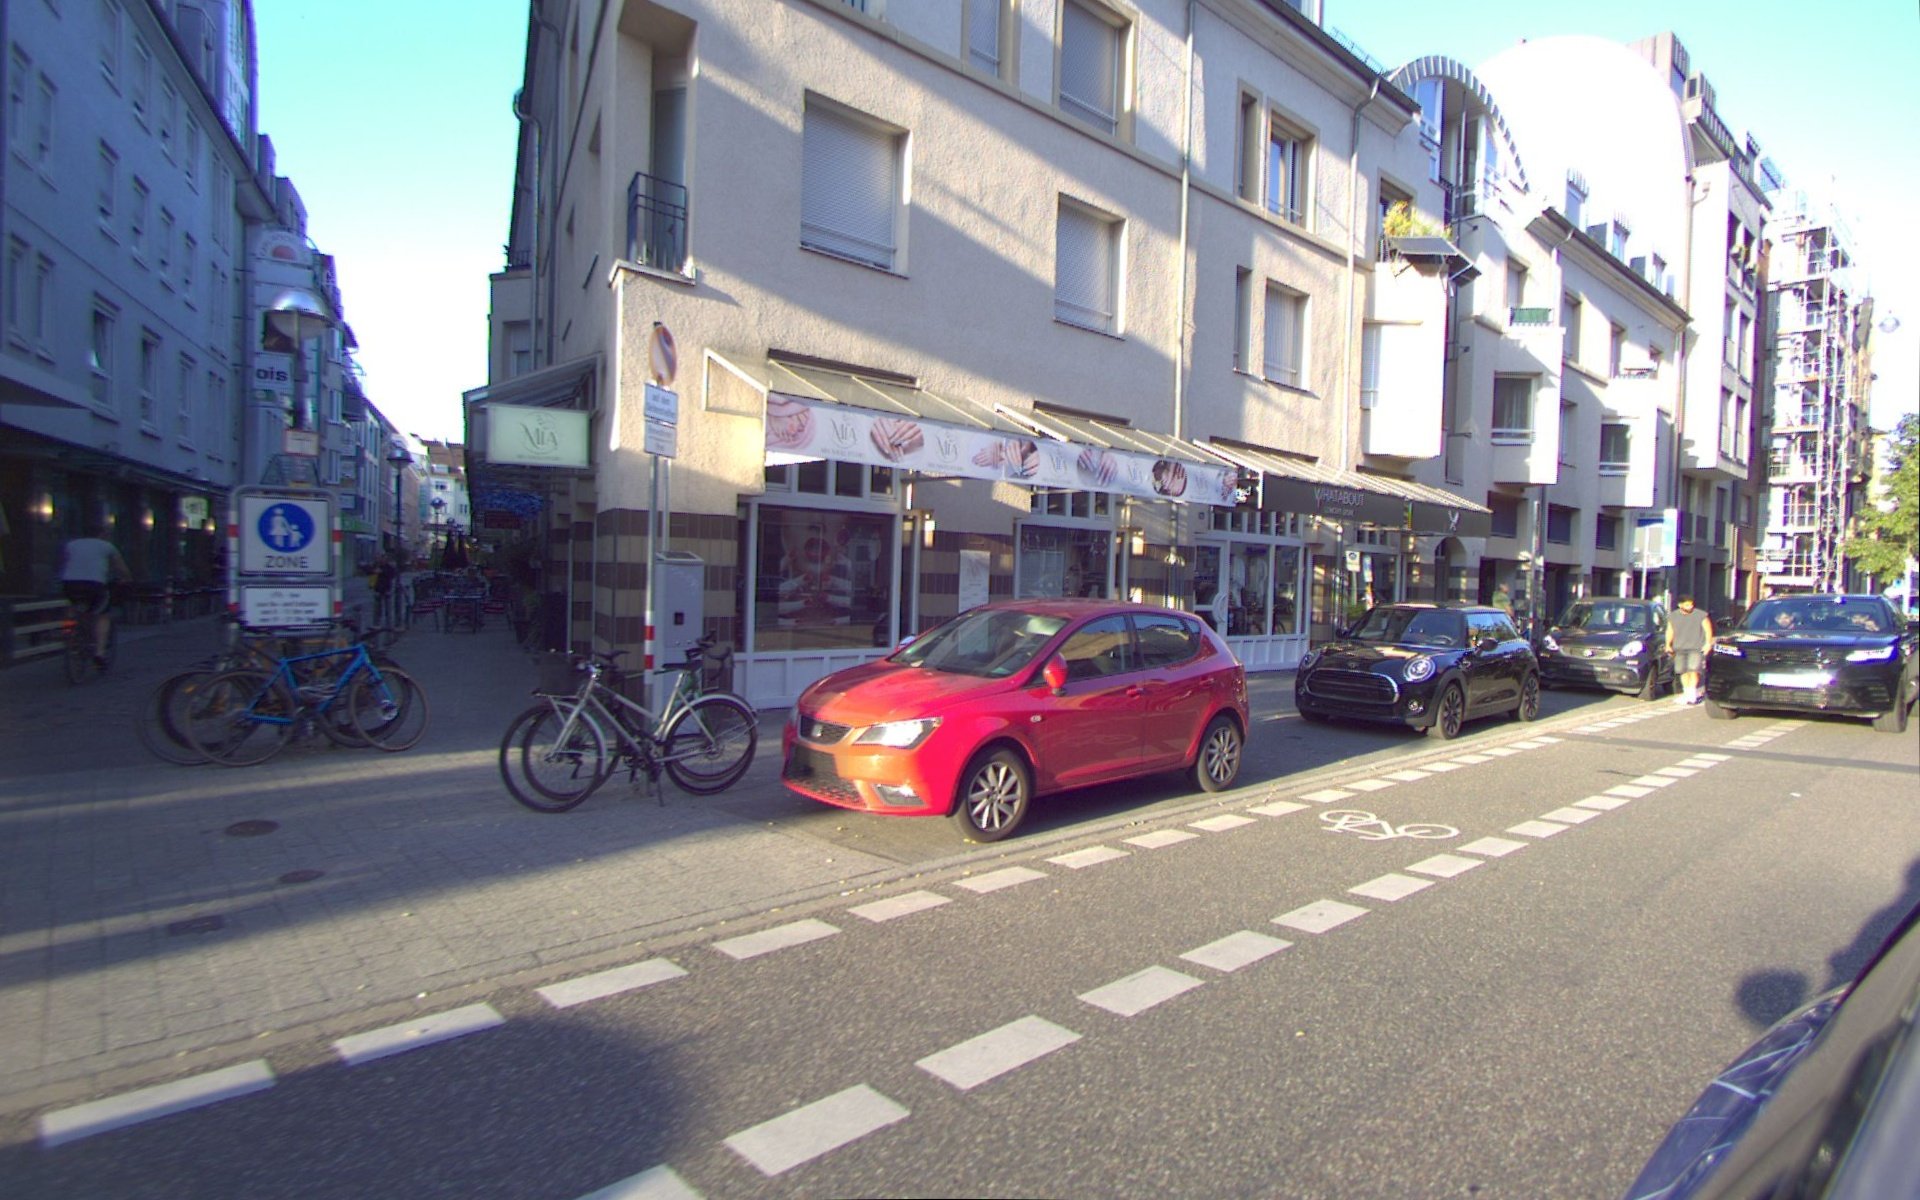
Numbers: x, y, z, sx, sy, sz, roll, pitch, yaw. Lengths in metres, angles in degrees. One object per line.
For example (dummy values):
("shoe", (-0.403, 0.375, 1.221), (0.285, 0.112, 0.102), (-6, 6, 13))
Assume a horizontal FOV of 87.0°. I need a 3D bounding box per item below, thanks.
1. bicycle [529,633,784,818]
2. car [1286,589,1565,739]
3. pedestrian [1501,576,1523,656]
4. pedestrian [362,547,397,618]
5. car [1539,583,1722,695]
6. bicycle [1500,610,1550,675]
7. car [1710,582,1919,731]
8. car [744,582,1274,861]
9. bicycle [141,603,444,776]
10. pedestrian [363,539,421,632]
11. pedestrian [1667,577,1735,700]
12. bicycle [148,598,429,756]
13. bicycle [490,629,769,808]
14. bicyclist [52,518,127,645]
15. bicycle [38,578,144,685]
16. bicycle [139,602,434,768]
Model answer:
("bicycle", (-1.993, 0.785, 6.799), (1.635, 1.059, 0.315), (0, 3, -39))
("car", (5.654, 0.638, 12.084), (3.858, 1.451, 1.619), (0, 2, -42))
("pedestrian", (12.692, 0.360, 23.259), (0.446, 1.822, 0.570), (0, 0, 30))
("pedestrian", (-13.826, -0.415, 24.117), (0.641, 1.675, 0.569), (1, 1, -23))
("car", (11.257, 0.562, 16.894), (3.858, 1.612, 1.619), (0, 2, -42))
("bicycle", (10.101, 0.742, 18.069), (1.437, 1.099, 0.296), (0, 1, -41))
("car", (11.581, 0.616, 13.374), (4.154, 1.656, 1.888), (0, 1, -42))
("car", (0.539, 0.650, 7.398), (3.858, 1.451, 1.591), (0, 3, -42))
("bicycle", (-4.875, 0.603, 7.498), (1.847, 1.118, 0.321), (-1, 2, -41))
("pedestrian", (-10.712, -0.293, 19.116), (0.689, 1.696, 0.799), (2, 3, -6))
("pedestrian", (11.083, 0.551, 15.131), (0.658, 1.771, 0.630), (0, 2, -42))
("bicycle", (-5.289, 0.560, 8.071), (1.847, 1.118, 0.321), (-1, 2, -41))
("bicycle", (-2.242, 0.763, 7.049), (1.848, 1.059, 0.315), (0, 3, -39))
("bicyclist", (-10.325, -0.218, 12.021), (0.453, 1.452, 0.720), (3, 0, -27))
("bicycle", (-10.382, 0.341, 12.150), (0.455, 1.161, 1.982), (3, 0, -27))
("bicycle", (-5.075, 0.589, 7.736), (1.855, 1.118, 0.291), (-1, 2, -41))
